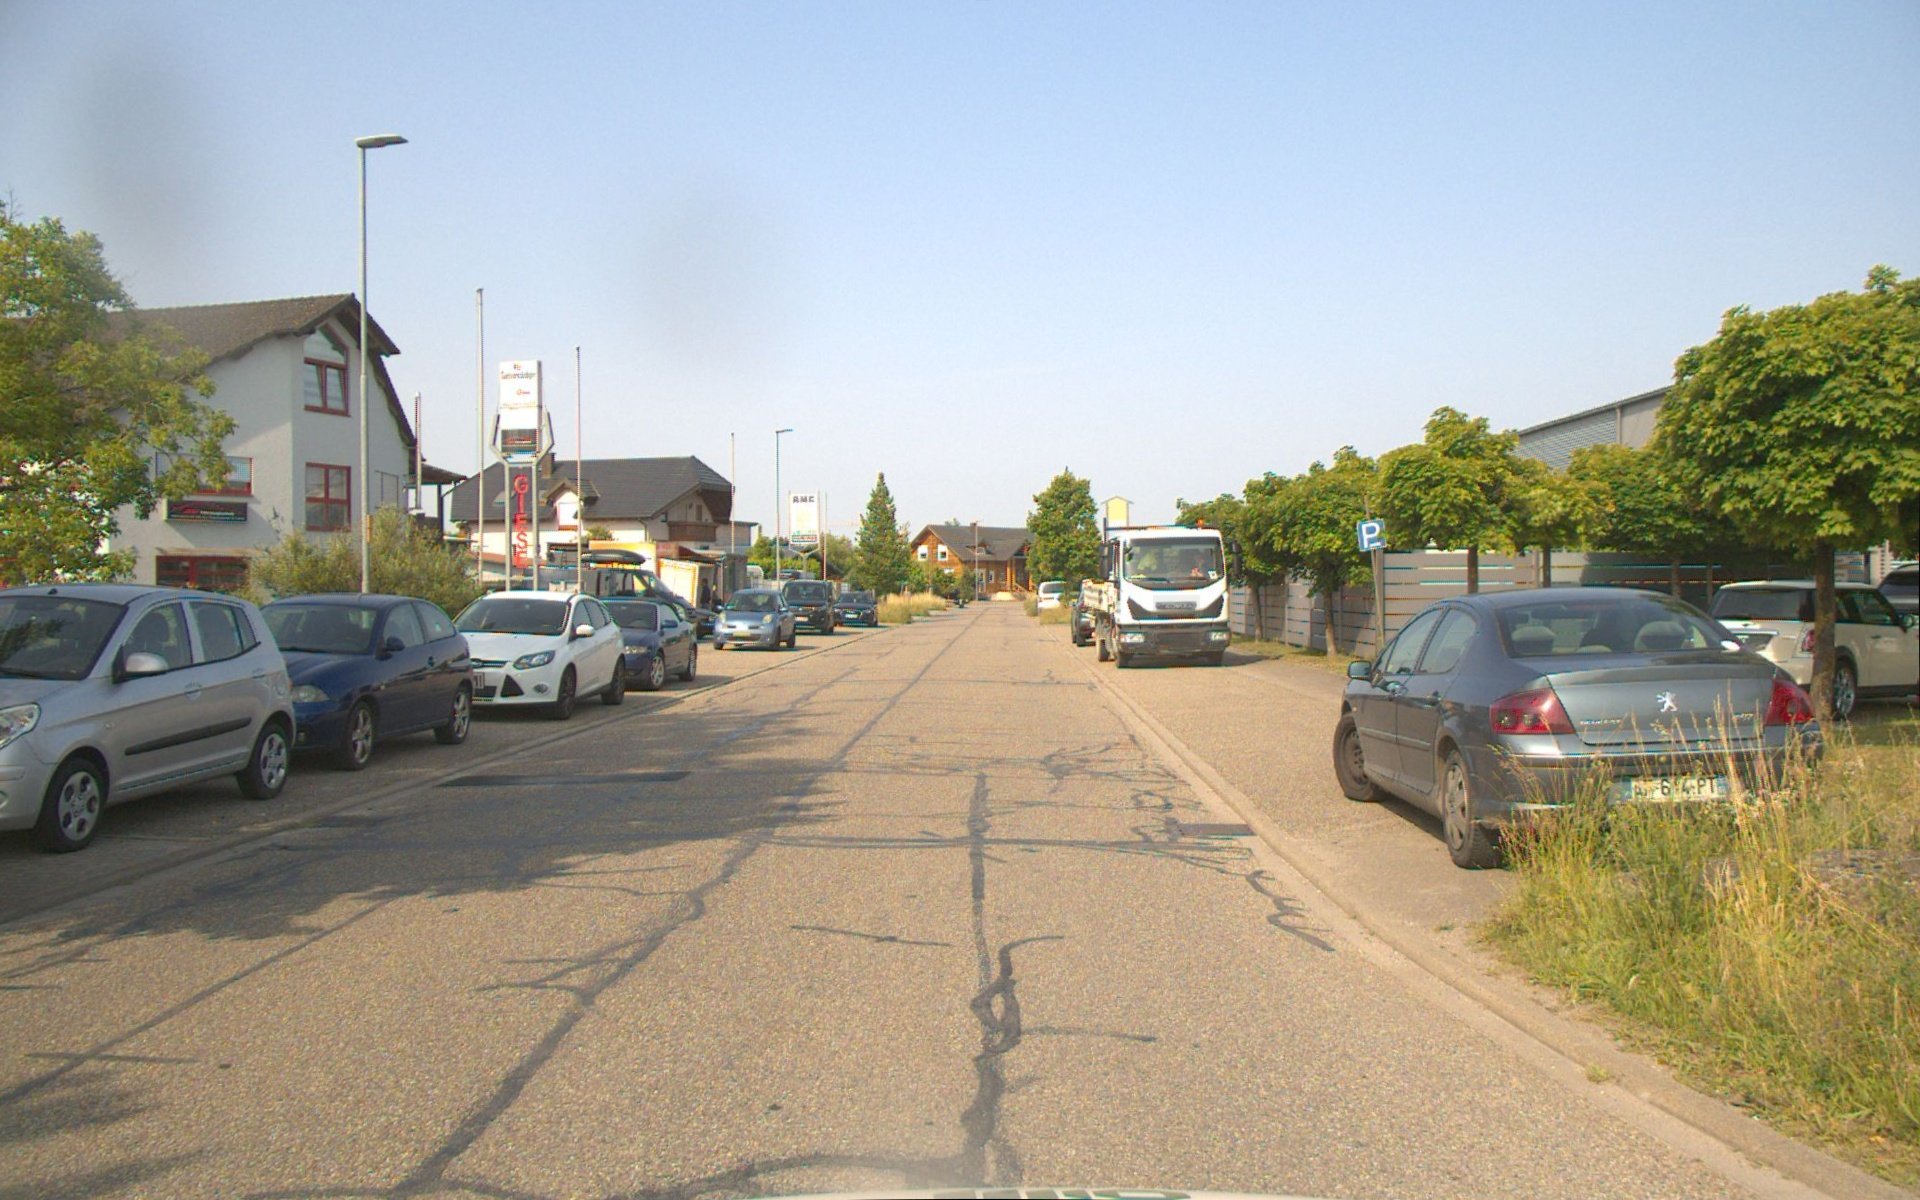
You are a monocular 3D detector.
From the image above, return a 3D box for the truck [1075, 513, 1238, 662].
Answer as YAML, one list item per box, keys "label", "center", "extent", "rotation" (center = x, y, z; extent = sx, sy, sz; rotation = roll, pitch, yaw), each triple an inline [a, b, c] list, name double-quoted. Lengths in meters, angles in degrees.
- label: "truck"
  center: [3.839, -0.247, 33.674]
  extent: [2.311, 2.728, 6.508]
  rotation: [-1, 0, -2]

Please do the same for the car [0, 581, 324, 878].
- label: "car"
  center: [-5.709, 0.672, 10.686]
  extent: [1.533, 1.565, 3.690]
  rotation: [1, 0, 4]

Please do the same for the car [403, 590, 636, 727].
- label: "car"
  center: [-5.350, 0.640, 20.641]
  extent: [1.648, 1.495, 4.255]
  rotation: [1, 0, 2]

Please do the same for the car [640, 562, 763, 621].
- label: "car"
  center: [-12.094, -0.400, 77.543]
  extent: [5.051, 2.631, 2.577]
  rotation: [-1, 0, 22]

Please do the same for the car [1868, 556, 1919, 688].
- label: "car"
  center: [13.569, 0.238, 21.662]
  extent: [4.497, 1.616, 1.661]
  rotation: [-1, 0, -43]

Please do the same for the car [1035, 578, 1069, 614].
- label: "car"
  center: [5.313, -0.244, 95.786]
  extent: [1.799, 1.957, 3.757]
  rotation: [-1, 0, 2]

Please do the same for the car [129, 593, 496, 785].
- label: "car"
  center: [-5.629, 0.685, 14.927]
  extent: [1.545, 1.469, 3.965]
  rotation: [1, 0, 3]

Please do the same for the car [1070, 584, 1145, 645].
- label: "car"
  center: [4.022, 0.375, 45.731]
  extent: [1.757, 1.588, 4.000]
  rotation: [-1, 0, 1]

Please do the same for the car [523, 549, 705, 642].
- label: "car"
  center: [-9.548, -0.120, 45.862]
  extent: [4.529, 2.459, 2.001]
  rotation: [-1, 0, 4]

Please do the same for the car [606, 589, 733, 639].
- label: "car"
  center: [-8.699, 0.414, 49.740]
  extent: [3.515, 1.439, 1.761]
  rotation: [-1, 0, -2]

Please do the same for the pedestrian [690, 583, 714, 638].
- label: "pedestrian"
  center: [-8.375, 0.332, 53.671]
  extent: [0.557, 1.745, 0.527]
  rotation: [-1, 0, -36]

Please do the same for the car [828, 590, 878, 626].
- label: "car"
  center: [-4.451, 0.317, 69.257]
  extent: [1.763, 1.411, 3.638]
  rotation: [1, 1, 1]

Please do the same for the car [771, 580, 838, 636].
- label: "car"
  center: [-5.266, 0.255, 56.461]
  extent: [1.763, 1.805, 4.203]
  rotation: [1, 1, 1]

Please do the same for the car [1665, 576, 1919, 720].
- label: "car"
  center: [9.557, 0.458, 18.354]
  extent: [3.660, 1.404, 1.664]
  rotation: [-1, 1, -38]

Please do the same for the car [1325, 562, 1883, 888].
- label: "car"
  center: [3.569, 0.588, 10.133]
  extent: [1.757, 1.544, 4.425]
  rotation: [-1, 0, 1]

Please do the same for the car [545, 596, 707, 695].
- label: "car"
  center: [-5.258, 0.659, 26.576]
  extent: [1.599, 1.411, 4.370]
  rotation: [1, 0, 1]

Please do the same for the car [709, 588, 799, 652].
- label: "car"
  center: [-5.241, 0.486, 42.491]
  extent: [1.599, 1.544, 3.607]
  rotation: [1, 0, 4]

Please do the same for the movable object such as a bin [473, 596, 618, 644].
- label: "movable object such as a bin"
  center: [-10.924, 0.517, 43.688]
  extent: [3.252, 1.167, 1.763]
  rotation: [1, 1, 10]
